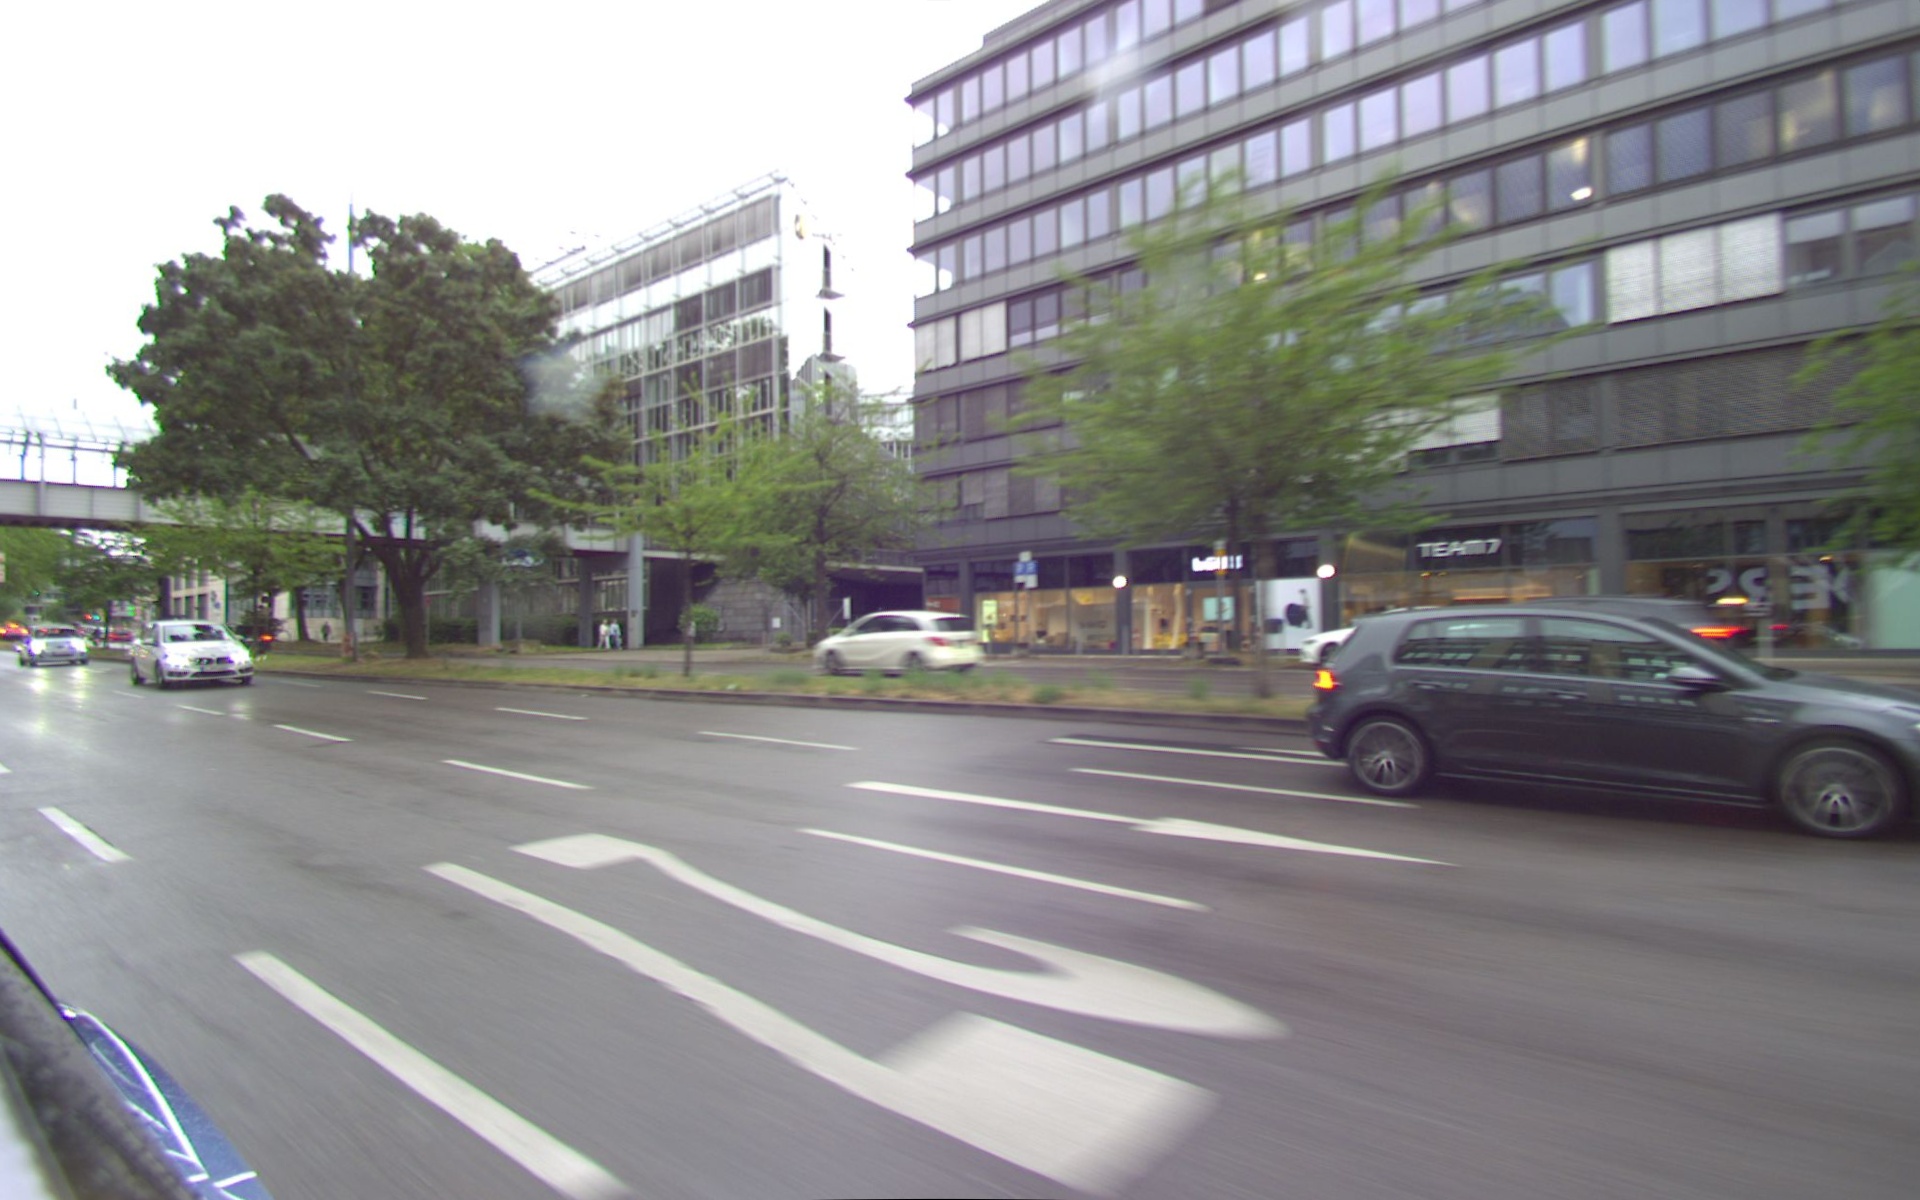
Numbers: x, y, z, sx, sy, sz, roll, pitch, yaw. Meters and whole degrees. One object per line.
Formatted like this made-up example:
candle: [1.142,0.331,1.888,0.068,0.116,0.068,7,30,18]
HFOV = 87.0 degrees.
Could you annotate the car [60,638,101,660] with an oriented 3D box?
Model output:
car: [-69.577,3.827,80.059,3.993,1.610,1.652,-2,0,37]

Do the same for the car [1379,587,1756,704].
car: [9.118,0.659,15.441,4.712,1.528,1.791,-2,-1,39]

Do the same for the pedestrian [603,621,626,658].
pedestrian: [-17.740,2.031,51.911,0.924,1.846,0.720,-2,0,41]

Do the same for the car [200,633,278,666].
car: [-31.878,2.170,44.703,4.071,1.320,1.711,-2,-1,38]

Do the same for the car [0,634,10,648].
car: [-90.221,3.867,94.390,4.070,1.320,1.711,-2,-1,37]

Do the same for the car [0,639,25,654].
car: [-84.946,4.136,90.232,4.071,1.320,1.711,-2,-1,38]

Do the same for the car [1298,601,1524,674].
car: [10.082,0.835,22.780,4.304,1.455,1.791,-2,0,38]

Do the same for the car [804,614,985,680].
car: [-1.629,1.098,24.228,4.308,1.445,1.710,-2,-1,39]

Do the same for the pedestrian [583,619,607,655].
pedestrian: [-18.453,1.867,51.160,0.924,1.812,0.720,-2,0,41]

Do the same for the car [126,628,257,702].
car: [-18.543,1.505,24.352,4.287,1.585,1.764,-2,-2,42]

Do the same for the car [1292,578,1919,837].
car: [5.017,0.659,7.188,4.682,1.462,1.821,-3,-2,38]

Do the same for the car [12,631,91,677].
car: [-33.937,1.974,37.791,3.689,1.585,1.765,-2,-1,41]
